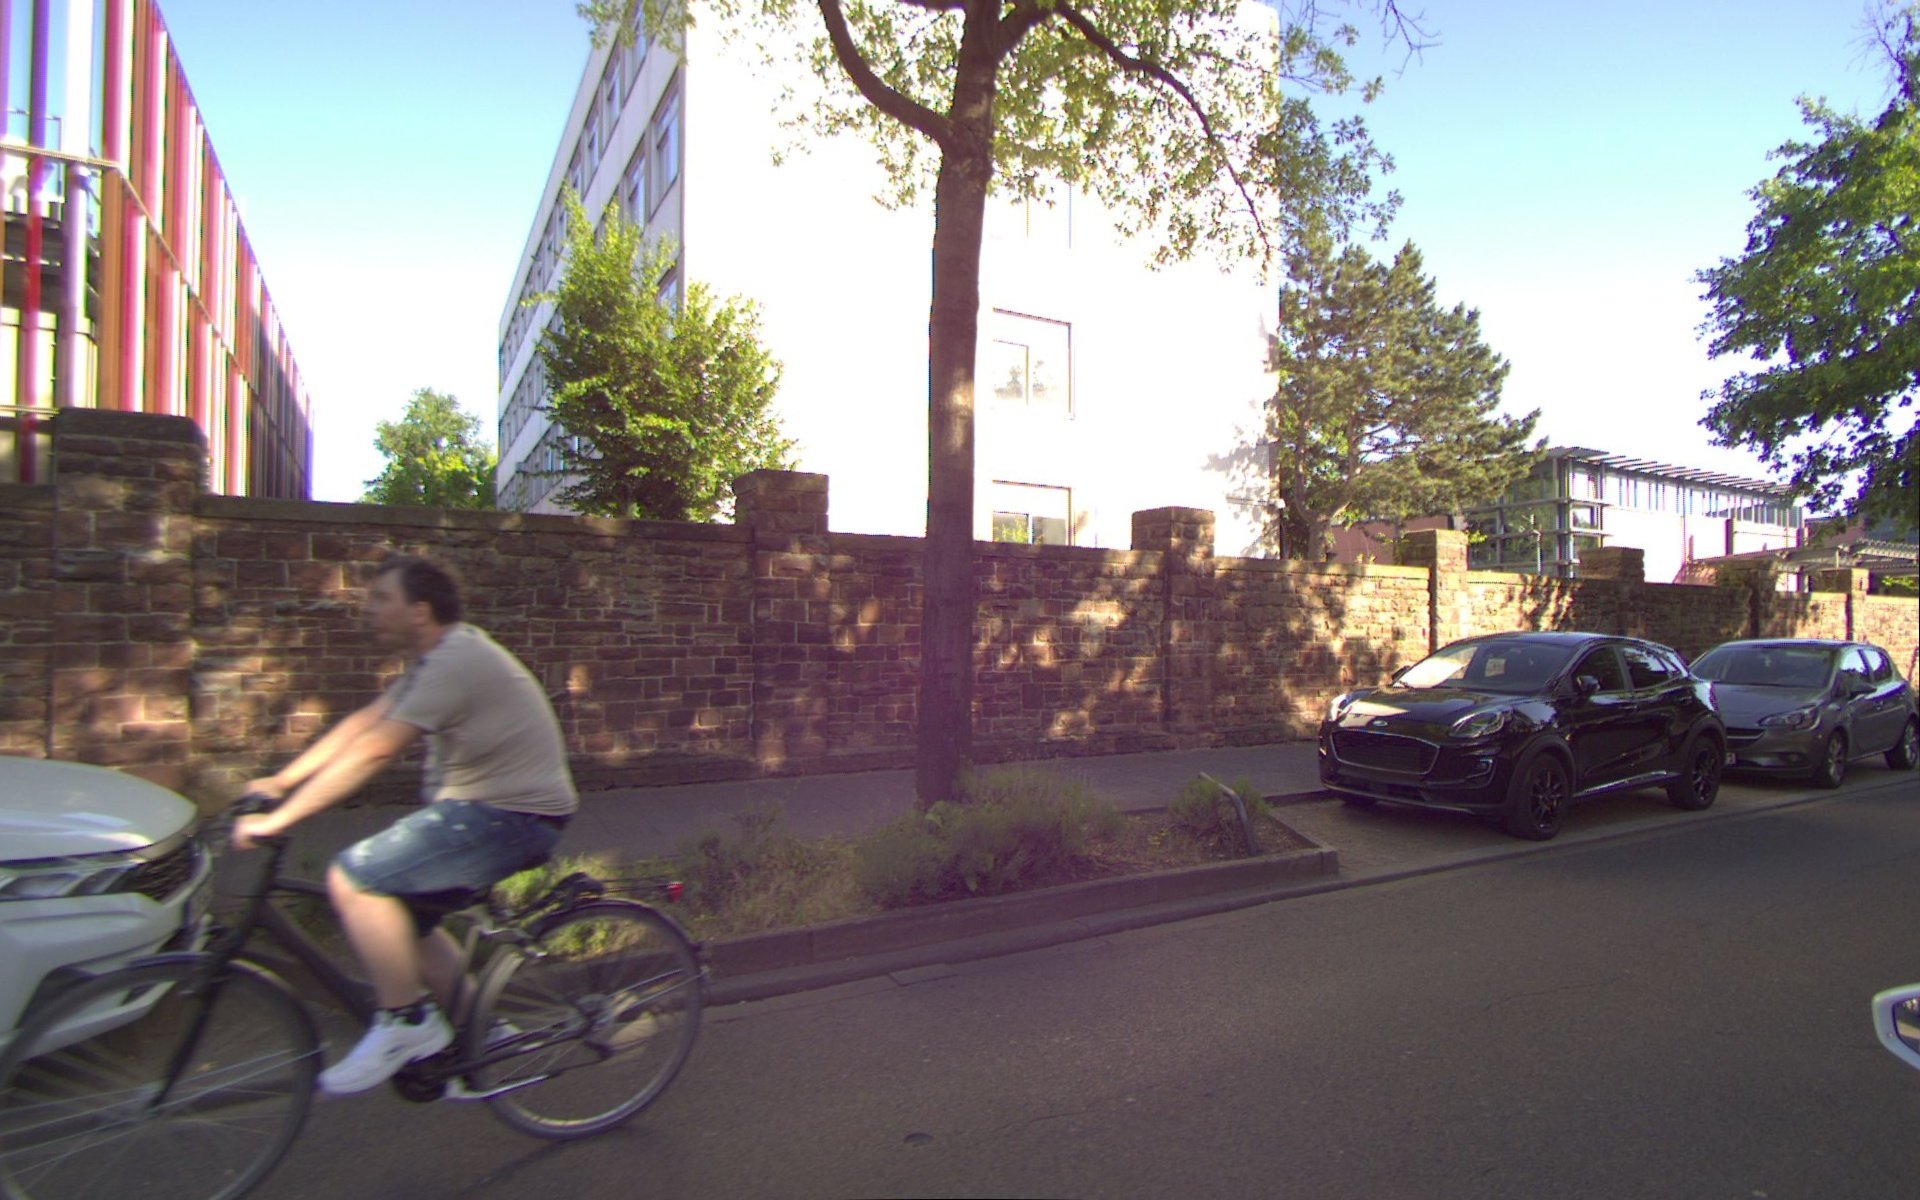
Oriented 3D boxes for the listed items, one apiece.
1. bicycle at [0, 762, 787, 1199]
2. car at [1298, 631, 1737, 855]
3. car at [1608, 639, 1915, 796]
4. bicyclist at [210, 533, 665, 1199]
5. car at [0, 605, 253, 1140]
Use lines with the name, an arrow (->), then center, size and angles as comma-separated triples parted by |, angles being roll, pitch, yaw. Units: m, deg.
bicycle -> -1.437, 1.104, 2.837 | 1.843, 1.135, 0.356 | 1, 0, -29
car -> 4.908, 1.056, 8.703 | 3.998, 1.535, 1.566 | 1, -1, -31
car -> 9.131, 1.190, 11.370 | 3.799, 1.440, 1.676 | 1, 0, -34
bicyclist -> -1.426, 0.627, 2.855 | 0.992, 1.543, 0.718 | 1, 0, -27
car -> -4.548, 0.790, 2.981 | 3.802, 1.531, 1.669 | 1, 1, -29
